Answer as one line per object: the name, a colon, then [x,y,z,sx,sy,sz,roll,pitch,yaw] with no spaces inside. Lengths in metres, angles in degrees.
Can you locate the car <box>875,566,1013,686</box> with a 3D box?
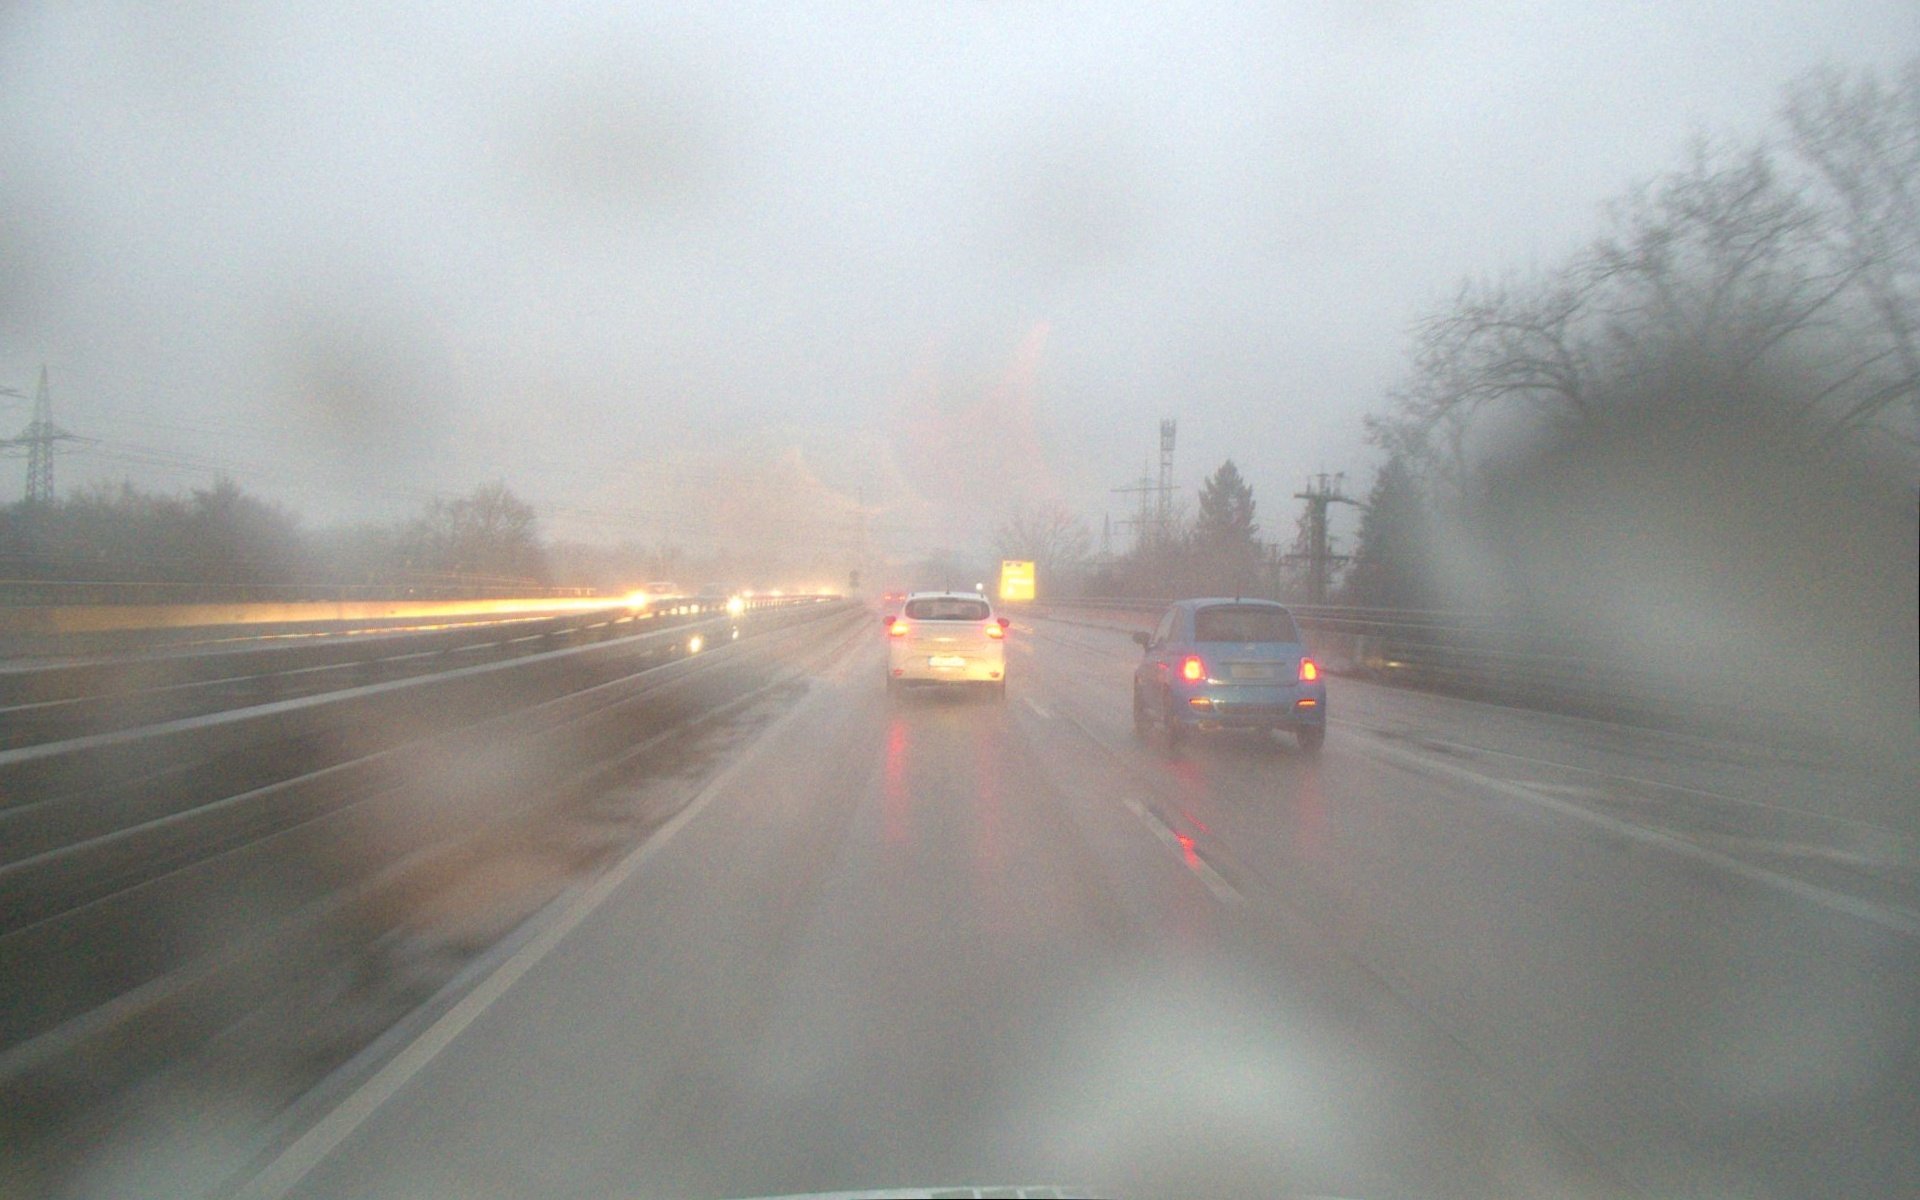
car: [-0.313,0.350,25.254,1.809,1.664,3.764,1,1,-5]

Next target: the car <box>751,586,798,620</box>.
car: [-9.152,0.126,81.906,1.924,1.528,4.372,1,1,-1]

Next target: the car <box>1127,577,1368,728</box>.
car: [3.106,0.504,18.708,1.809,1.479,4.146,1,1,-3]

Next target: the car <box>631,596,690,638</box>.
car: [-12.231,0.672,67.713,1.818,1.593,3.921,1,1,-2]
